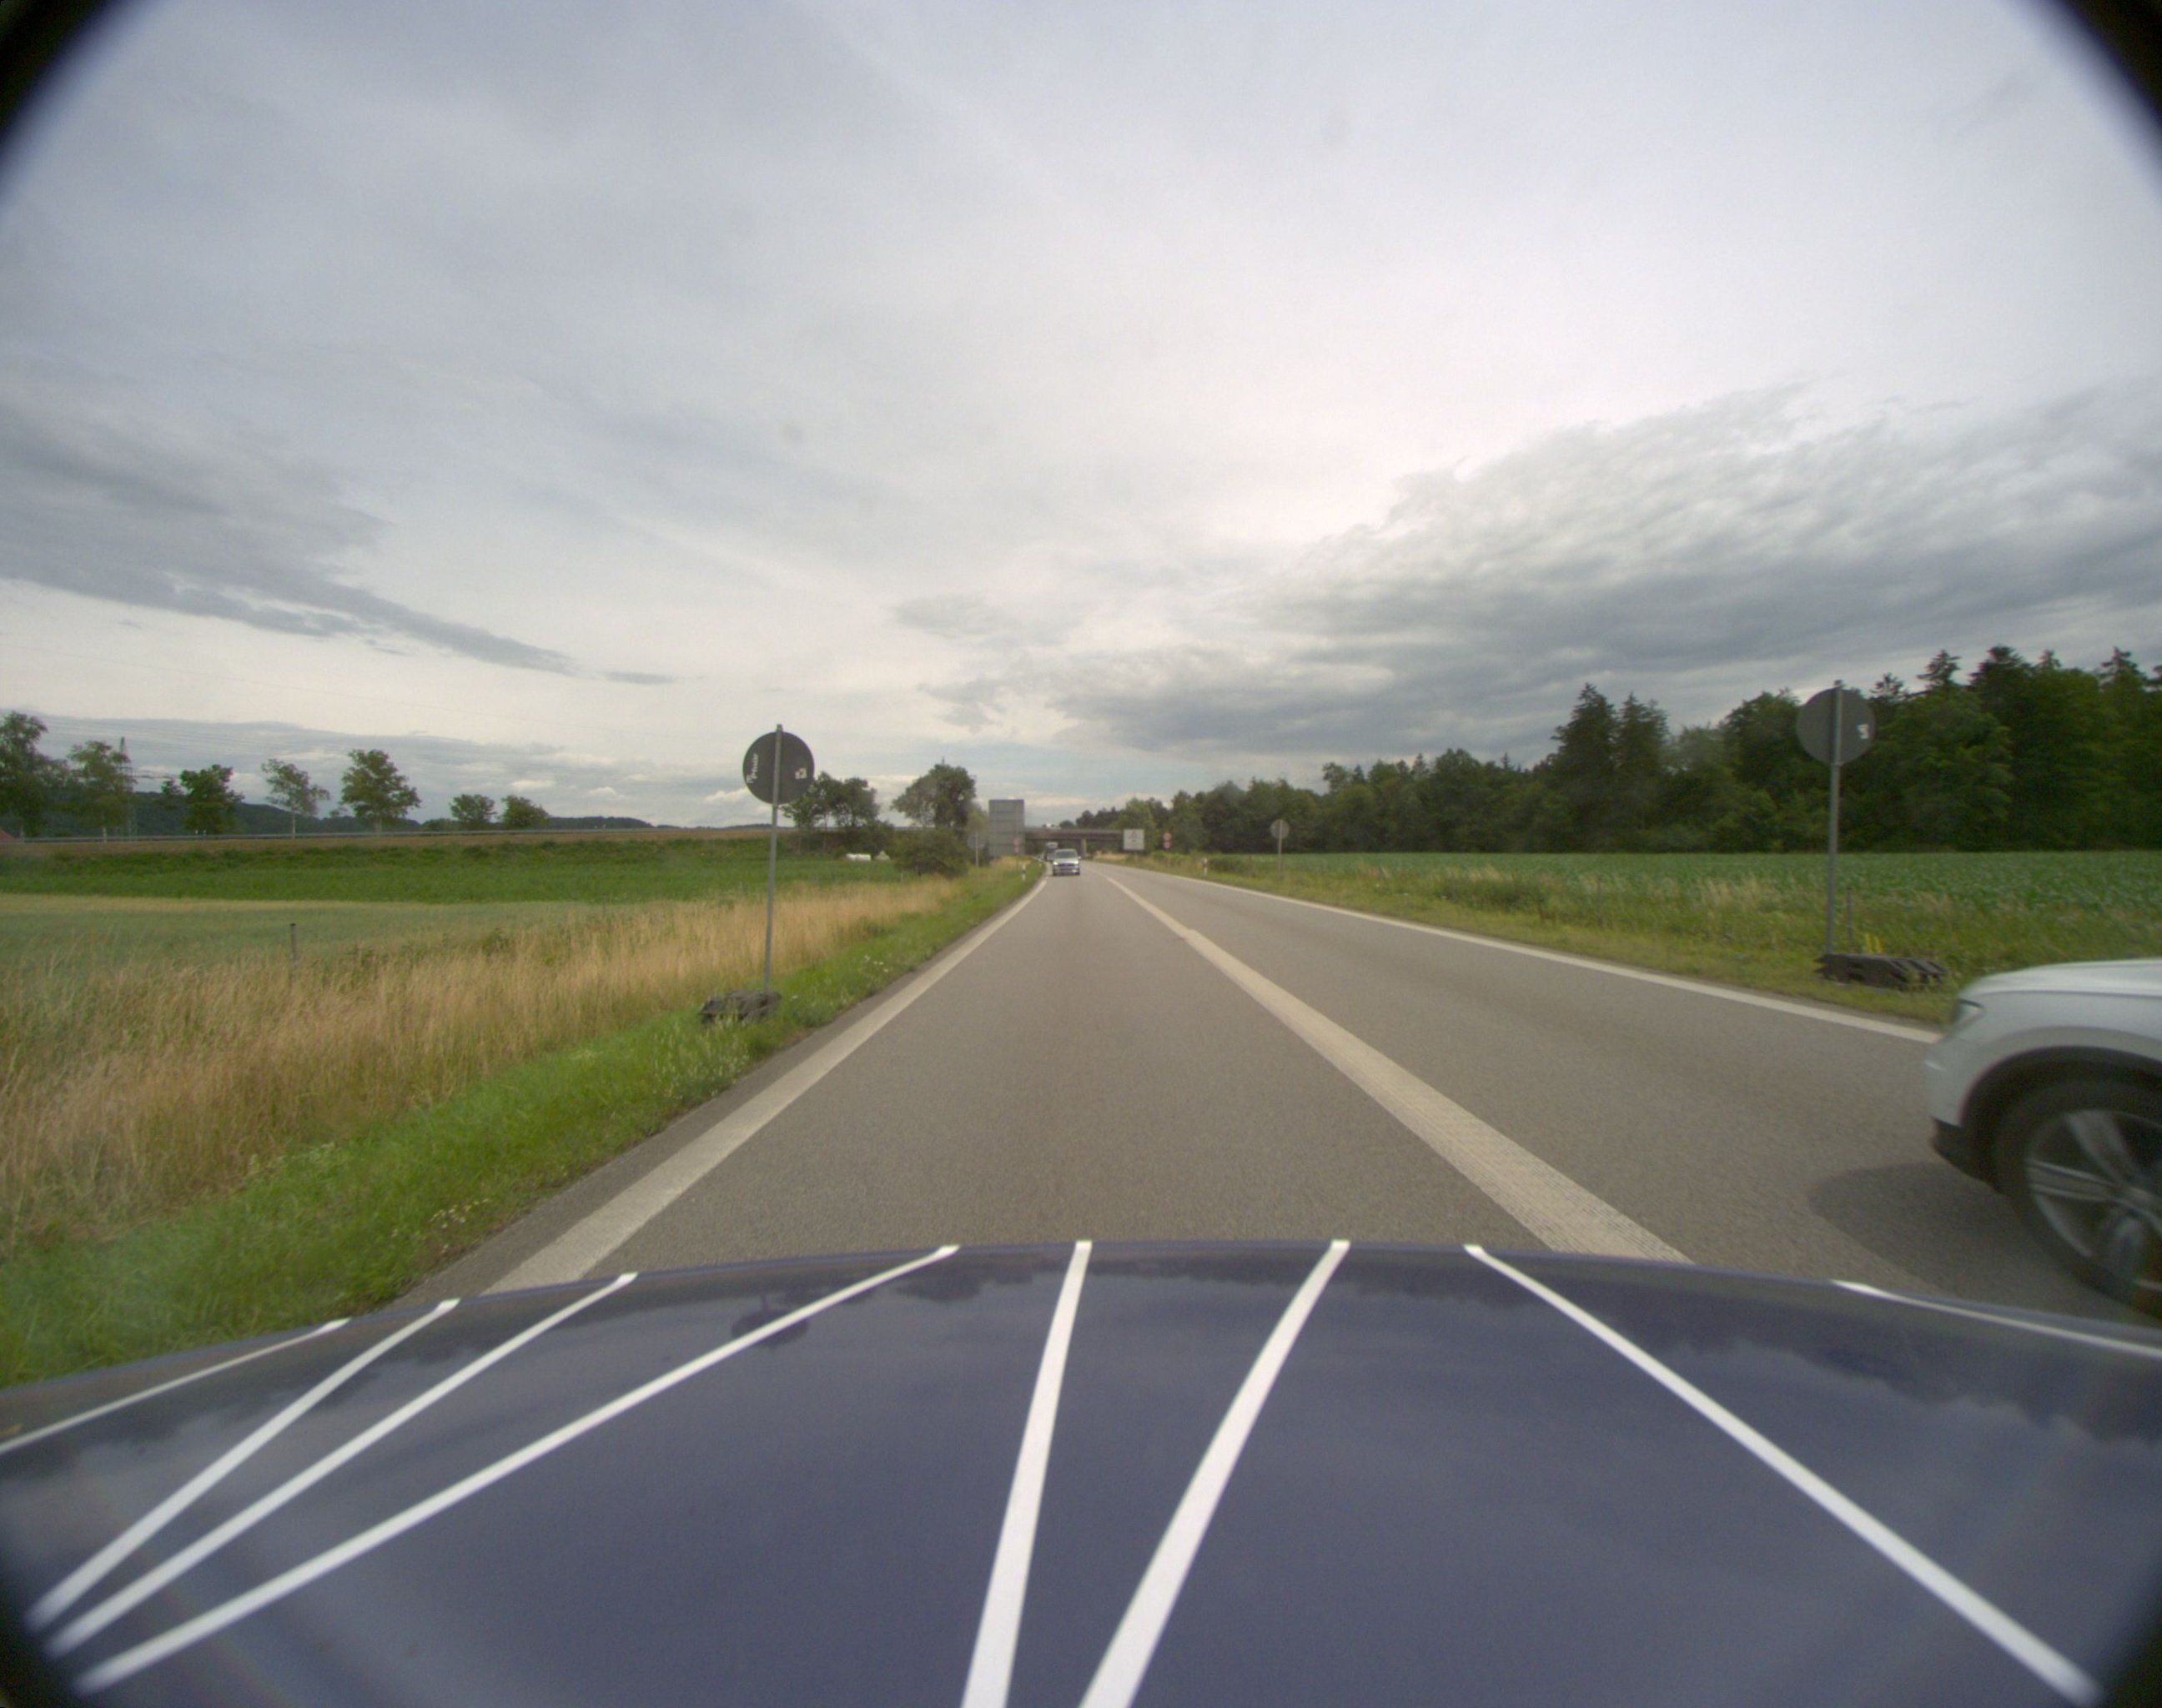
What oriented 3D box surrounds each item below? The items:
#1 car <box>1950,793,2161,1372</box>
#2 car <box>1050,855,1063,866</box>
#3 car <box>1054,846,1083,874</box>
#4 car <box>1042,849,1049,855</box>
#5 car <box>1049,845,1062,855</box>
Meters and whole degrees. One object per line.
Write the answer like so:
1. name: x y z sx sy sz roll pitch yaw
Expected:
1. car: 4.032 0.623 0.478 2.011 1.648 4.326 -3 1 0
2. car: -4.153 1.134 128.176 1.862 1.679 4.113 -3 1 2
3. car: -0.944 0.417 54.651 1.924 1.823 3.998 -3 1 -3
4. car: -9.725 -0.586 208.848 1.801 1.653 3.998 -3 1 -3
5. car: -5.471 -0.889 164.012 1.998 2.002 4.001 -3 1 6
